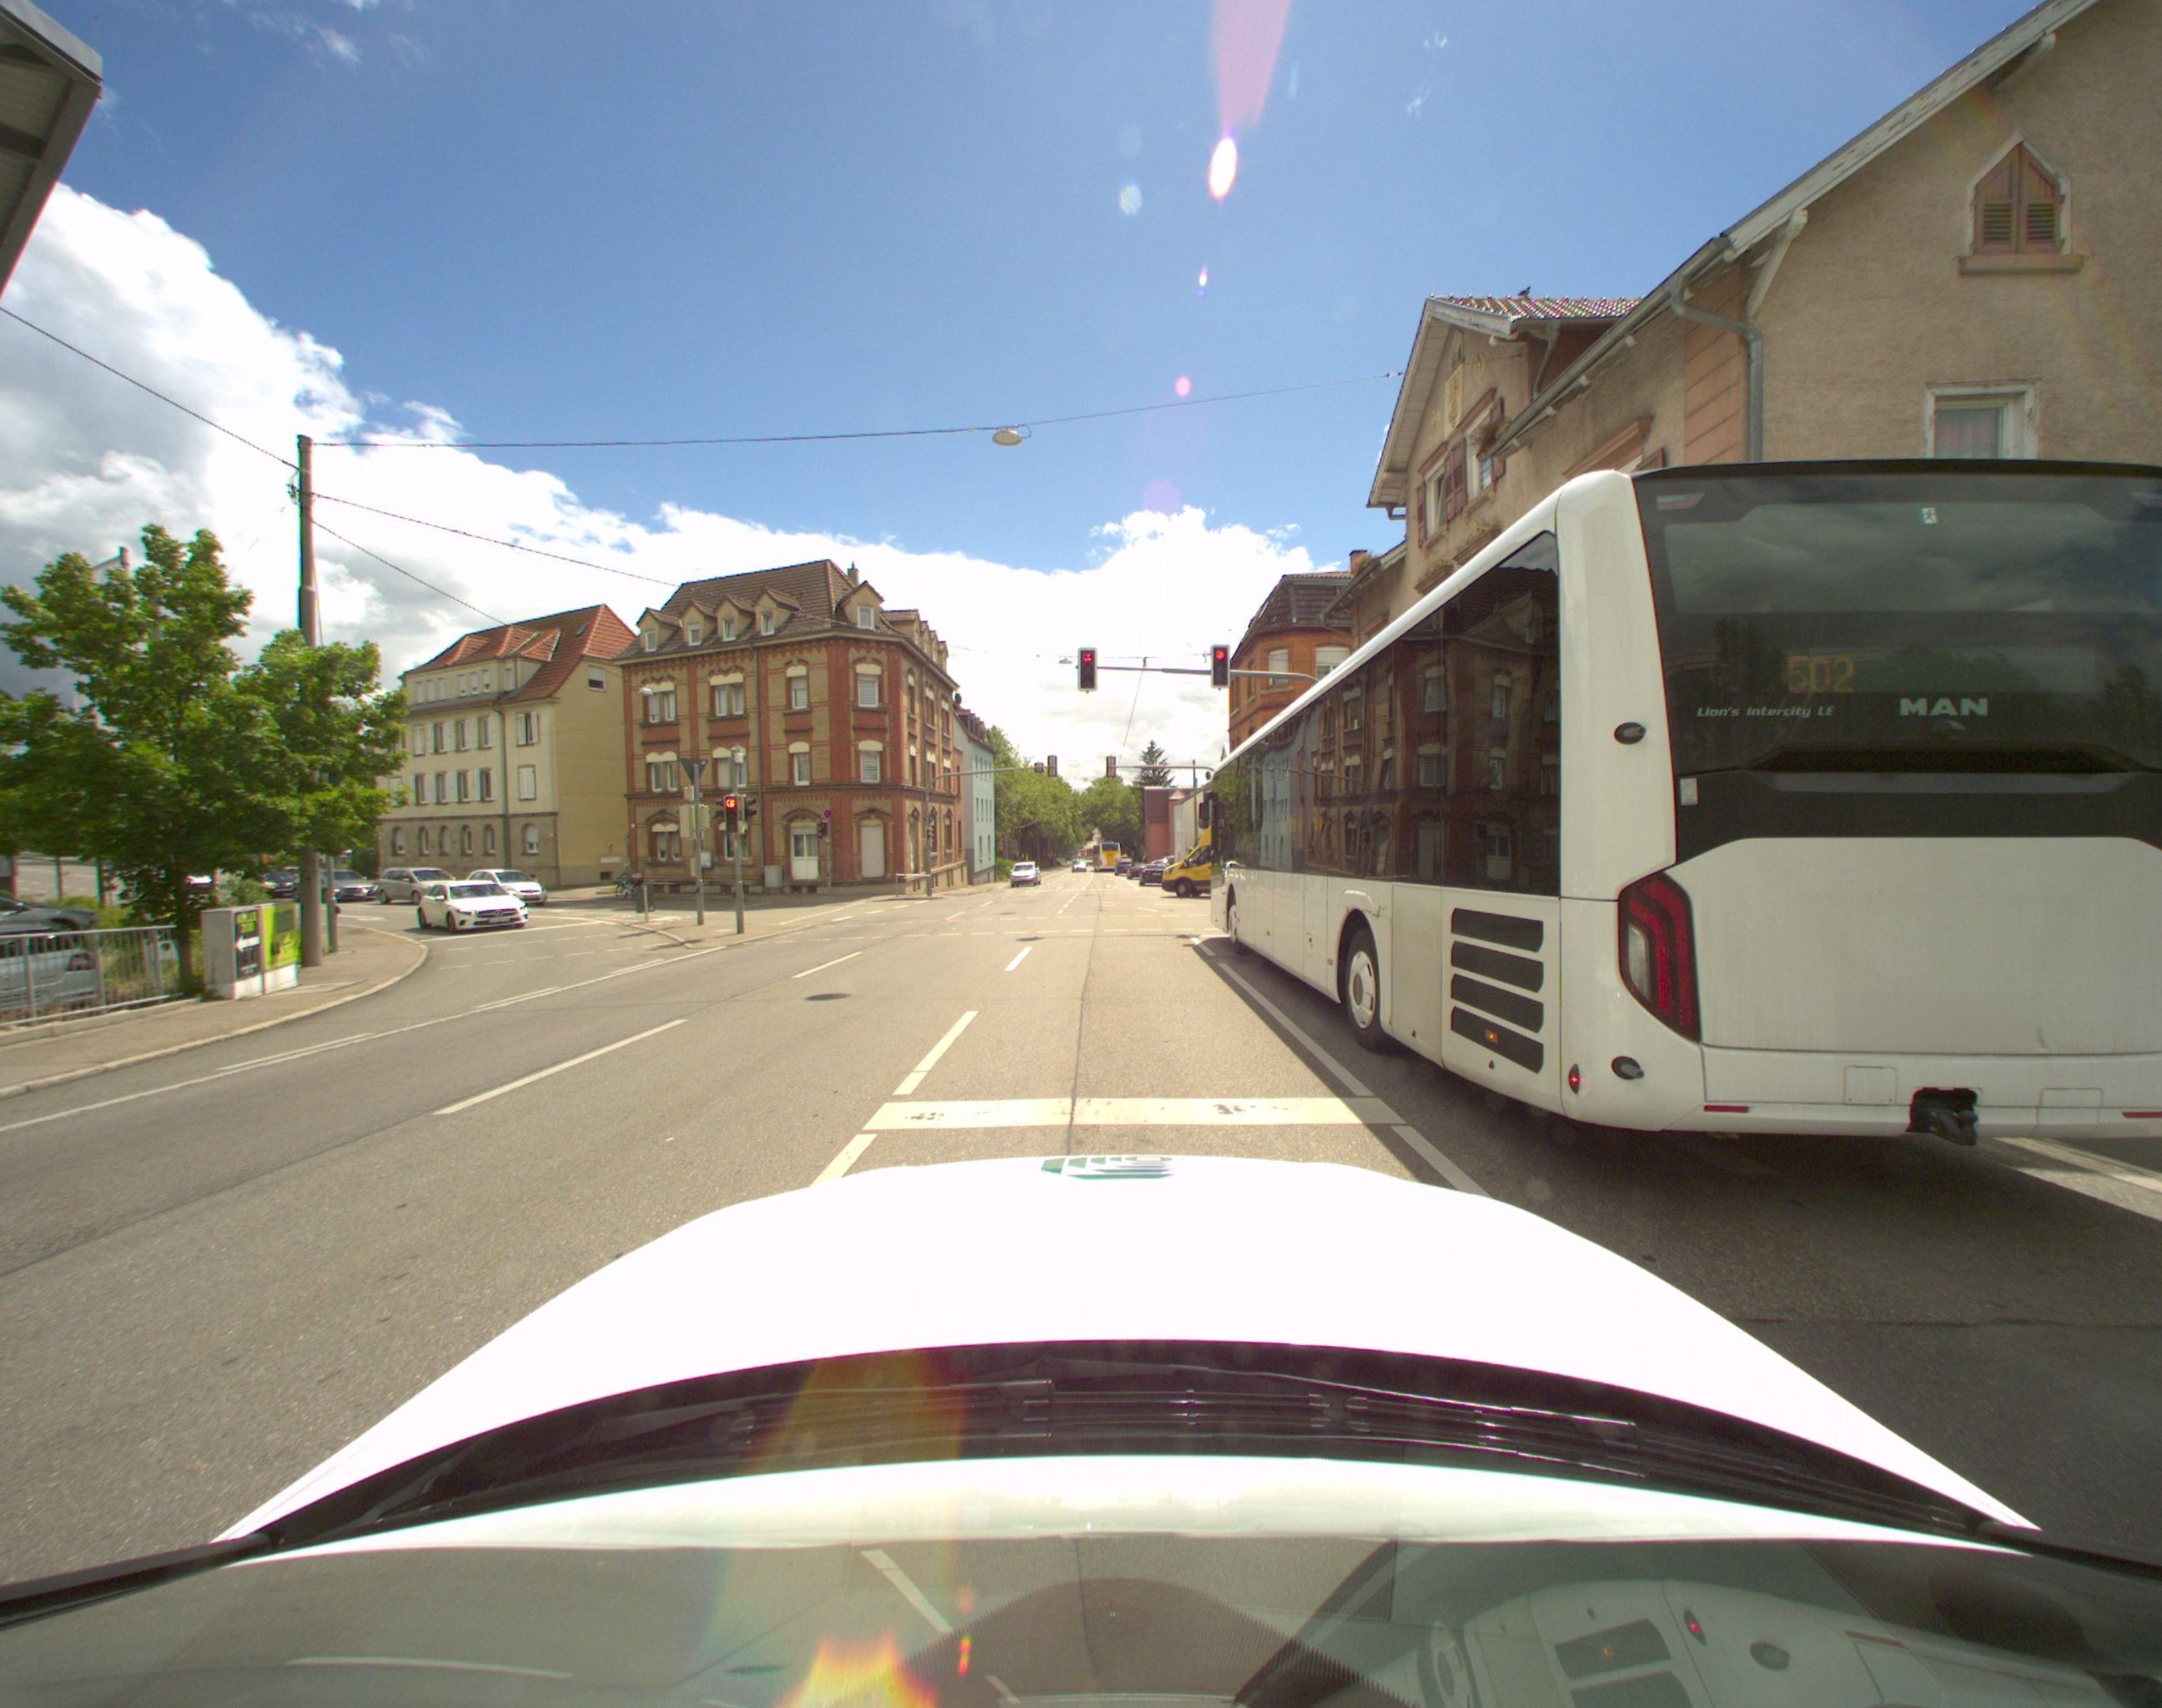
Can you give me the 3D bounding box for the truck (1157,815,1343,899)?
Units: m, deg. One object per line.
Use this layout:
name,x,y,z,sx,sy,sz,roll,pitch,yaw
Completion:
truck,6.353,0.134,30.619,6.495,2.913,2.562,-1,-1,21

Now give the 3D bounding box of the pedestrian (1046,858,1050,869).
pedestrian,-5.603,1.623,137.191,0.604,1.758,0.653,-2,0,0

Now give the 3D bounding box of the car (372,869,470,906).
car,-29.210,1.470,36.051,3.951,1.519,1.757,-1,0,24

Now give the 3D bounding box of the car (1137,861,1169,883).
car,4.514,1.119,51.392,1.791,1.276,4.002,-2,0,2

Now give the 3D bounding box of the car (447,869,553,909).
car,-23.602,1.392,33.064,3.951,1.497,1.711,-1,0,24

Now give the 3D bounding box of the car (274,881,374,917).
car,-35.454,2.079,38.144,3.951,1.519,2.011,-1,0,24

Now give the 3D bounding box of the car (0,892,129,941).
car,-29.256,1.732,22.217,1.795,1.186,4.025,-1,0,31

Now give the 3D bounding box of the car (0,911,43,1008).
car,-19.715,1.834,14.154,3.744,1.523,1.526,-1,0,30

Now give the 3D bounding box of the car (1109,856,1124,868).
car,5.604,1.258,129.326,2.086,1.830,4.140,-1,0,-1

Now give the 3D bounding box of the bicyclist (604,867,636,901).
bicyclist,-20.924,1.368,36.976,1.065,1.499,0.592,-2,0,10

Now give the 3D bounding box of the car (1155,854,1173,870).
car,9.489,0.887,93.171,1.760,1.665,4.002,-2,0,2

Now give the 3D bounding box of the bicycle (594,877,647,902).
bicycle,-20.907,1.614,36.967,2.172,1.019,0.608,-2,0,9

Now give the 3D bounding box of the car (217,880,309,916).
car,-41.472,2.225,41.278,3.951,1.642,2.011,-2,0,24

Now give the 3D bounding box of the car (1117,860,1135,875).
car,4.427,1.285,79.949,1.603,1.376,4.002,-2,0,2

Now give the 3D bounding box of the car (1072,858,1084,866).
car,-0.520,1.596,161.813,2.199,1.613,4.549,-2,0,2

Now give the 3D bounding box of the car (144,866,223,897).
car,-50.109,1.506,45.458,4.291,1.586,2.012,-1,0,29

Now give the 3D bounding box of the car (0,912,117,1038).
car,-16.120,1.742,12.185,3.638,1.575,1.766,-1,-2,34

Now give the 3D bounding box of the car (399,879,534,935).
car,-18.292,1.539,24.181,4.334,1.447,1.875,-2,0,34

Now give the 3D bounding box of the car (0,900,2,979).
car,-23.407,1.738,16.434,3.371,1.575,1.526,-1,0,30

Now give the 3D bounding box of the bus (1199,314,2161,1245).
bus,3.517,-0.240,9.323,2.893,3.510,12.492,0,0,2

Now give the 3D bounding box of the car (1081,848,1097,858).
car,2.301,-0.228,243.555,2.120,3.070,5.662,-1,-1,33

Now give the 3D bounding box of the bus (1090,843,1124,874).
bus,3.154,0.581,103.057,3.292,3.631,11.233,-2,0,-2

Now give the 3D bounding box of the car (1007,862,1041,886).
car,-3.960,1.391,57.393,1.928,1.563,4.390,-2,0,2

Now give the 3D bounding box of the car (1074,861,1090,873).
car,0.115,1.614,103.459,1.858,1.367,4.549,-2,0,2

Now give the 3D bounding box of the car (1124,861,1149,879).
car,4.652,1.336,68.533,1.858,1.367,4.549,-2,0,2
